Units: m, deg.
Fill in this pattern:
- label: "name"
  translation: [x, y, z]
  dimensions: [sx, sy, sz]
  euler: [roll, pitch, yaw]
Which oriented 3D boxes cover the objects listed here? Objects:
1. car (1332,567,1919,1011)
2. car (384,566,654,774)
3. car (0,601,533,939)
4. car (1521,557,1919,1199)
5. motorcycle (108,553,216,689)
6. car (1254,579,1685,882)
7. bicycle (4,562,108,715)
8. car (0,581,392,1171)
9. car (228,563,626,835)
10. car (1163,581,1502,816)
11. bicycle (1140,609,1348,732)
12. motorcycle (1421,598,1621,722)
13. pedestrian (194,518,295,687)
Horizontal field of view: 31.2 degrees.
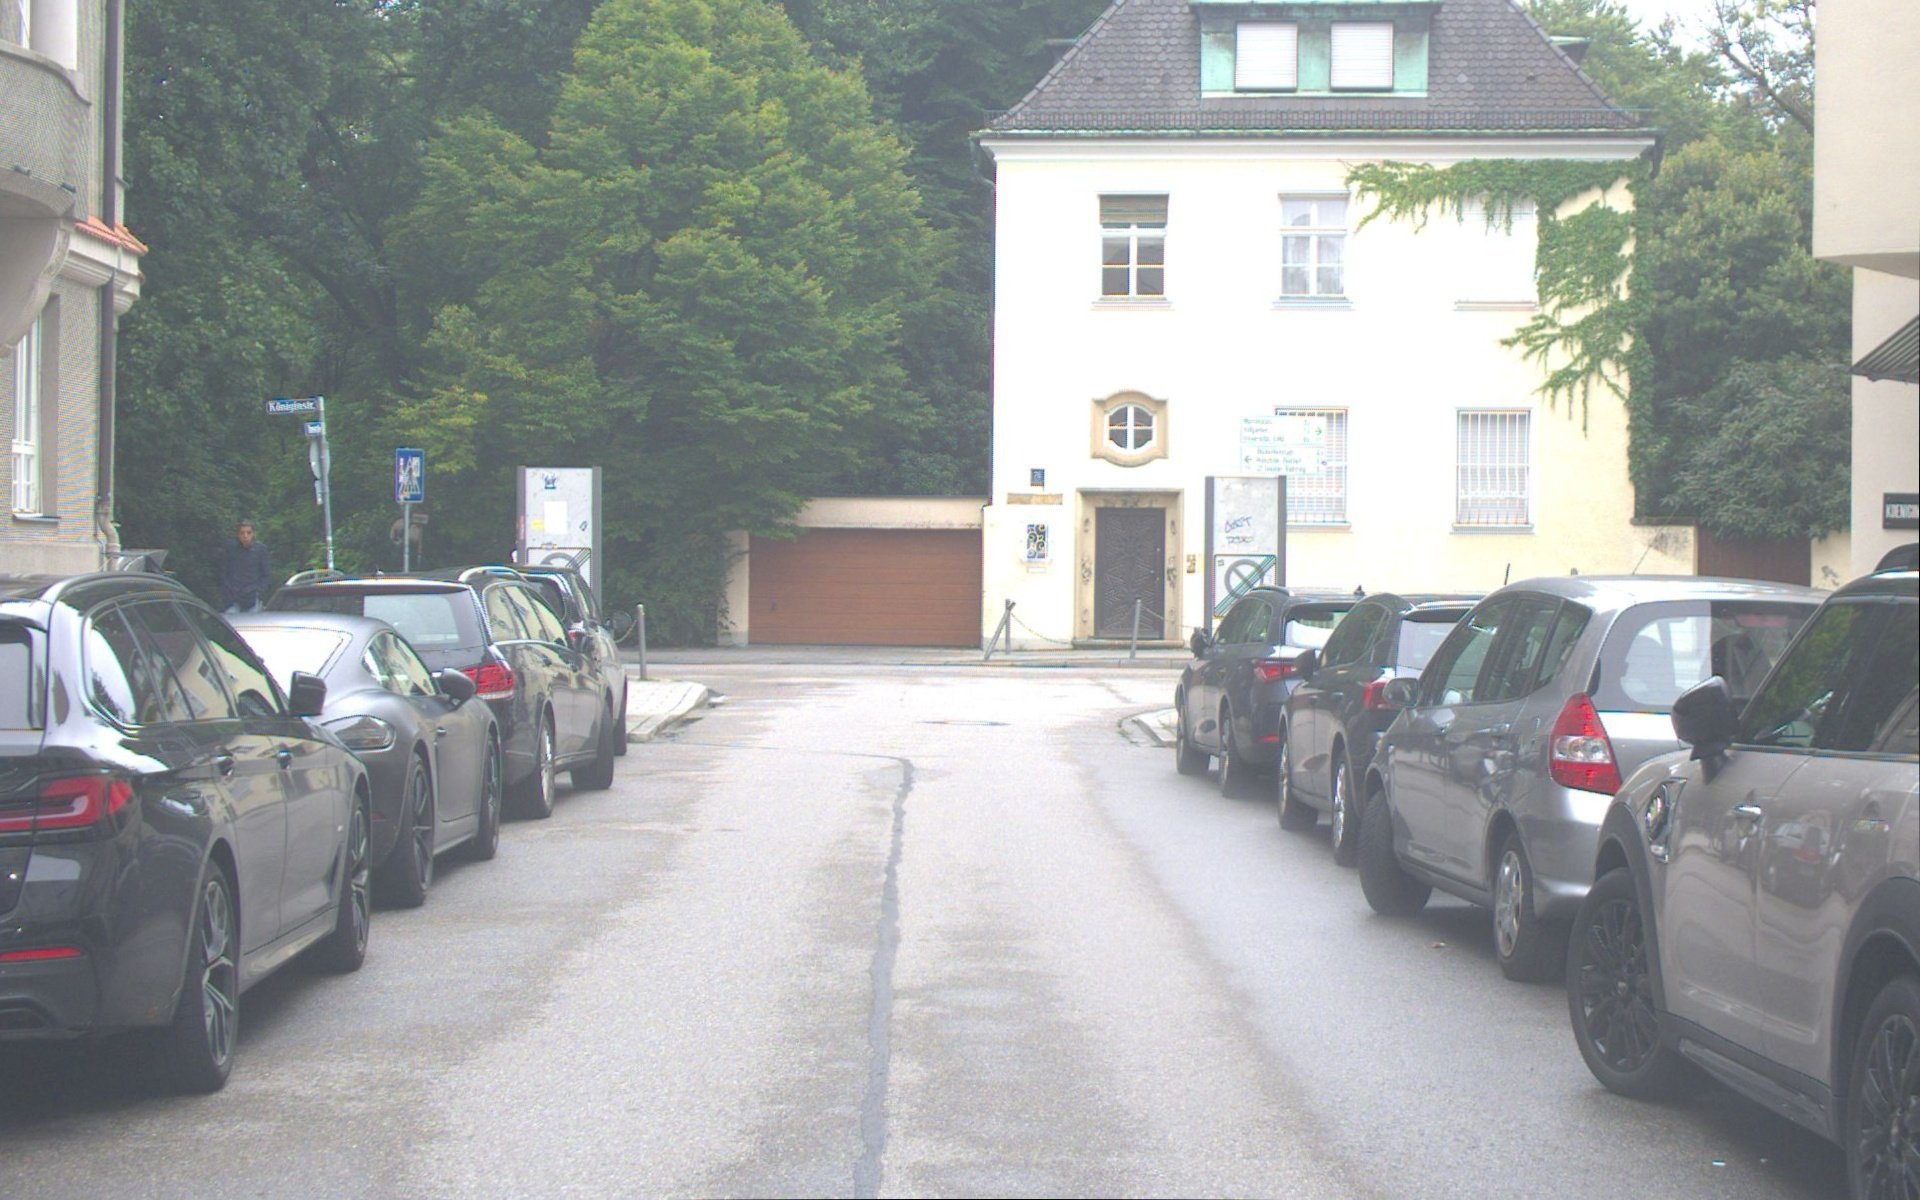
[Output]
- label: "car"
  translation: [2.698, 0.650, 13.992]
  dimensions: [1.633, 1.531, 3.856]
  euler: [1, 1, -5]
- label: "car"
  translation: [-3.370, 0.500, 26.697]
  dimensions: [1.704, 1.510, 2.911]
  euler: [0, 1, 0]
- label: "car"
  translation: [-3.159, 0.699, 16.205]
  dimensions: [1.755, 1.326, 4.096]
  euler: [0, 1, 0]
- label: "car"
  translation: [2.641, 0.704, 8.506]
  dimensions: [1.633, 1.586, 3.969]
  euler: [1, 1, -3]
- label: "motorcycle"
  translation: [-8.749, 0.211, 37.773]
  dimensions: [0.736, 1.436, 2.147]
  euler: [1, 1, -2]
- label: "car"
  translation: [2.713, 0.643, 19.101]
  dimensions: [1.634, 1.466, 3.855]
  euler: [1, 1, -3]
- label: "bicycle"
  translation: [-8.236, 0.334, 31.356]
  dimensions: [0.618, 1.345, 1.675]
  euler: [1, 0, -5]
- label: "car"
  translation: [-3.121, 0.675, 10.954]
  dimensions: [1.993, 1.443, 4.779]
  euler: [0, 1, -2]
- label: "car"
  translation: [-3.227, 0.533, 21.687]
  dimensions: [1.755, 1.510, 4.708]
  euler: [0, 1, 0]
- label: "car"
  translation: [2.549, 0.624, 24.546]
  dimensions: [1.692, 1.466, 4.611]
  euler: [1, 1, -3]
- label: "bicycle"
  translation: [2.633, 0.642, 31.910]
  dimensions: [1.794, 1.082, 0.665]
  euler: [0, 2, 27]
- label: "motorcycle"
  translation: [6.302, 0.675, 38.630]
  dimensions: [2.077, 1.351, 0.817]
  euler: [1, 0, -23]
- label: "pedestrian"
  translation: [-7.721, 0.021, 37.120]
  dimensions: [0.839, 1.781, 0.936]
  euler: [1, 0, 2]
